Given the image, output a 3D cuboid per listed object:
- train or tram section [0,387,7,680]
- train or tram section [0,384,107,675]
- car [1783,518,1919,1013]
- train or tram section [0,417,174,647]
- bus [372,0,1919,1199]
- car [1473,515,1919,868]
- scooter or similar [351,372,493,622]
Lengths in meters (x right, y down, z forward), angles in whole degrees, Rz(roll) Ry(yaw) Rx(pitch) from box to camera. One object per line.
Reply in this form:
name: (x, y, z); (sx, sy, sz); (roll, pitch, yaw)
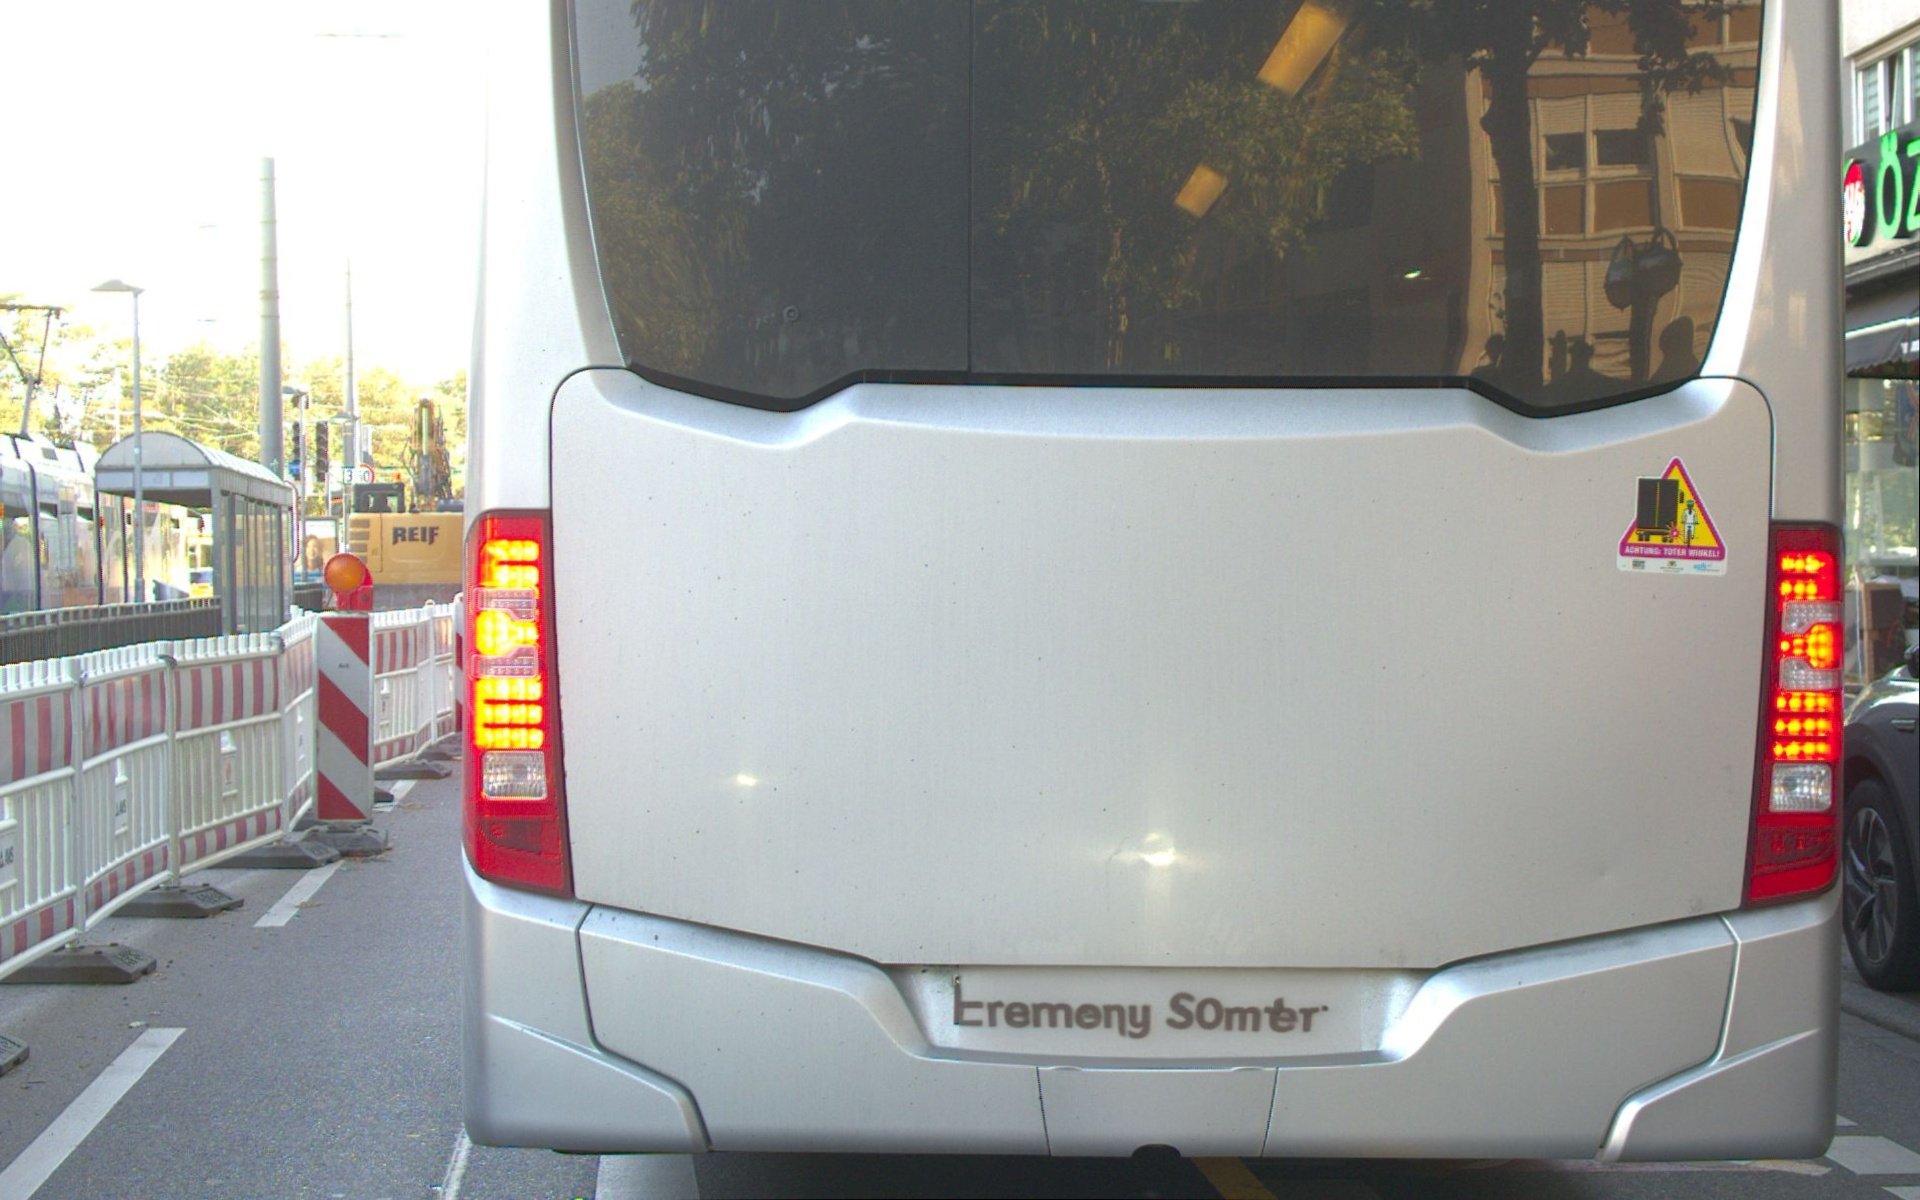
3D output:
train or tram section: (-12.321, -0.753, 35.752); (2.686, 3.521, 11.774); (1, 1, -6)
train or tram section: (-13.774, -0.939, 47.340); (2.686, 3.546, 11.585); (1, 1, -8)
car: (4.137, 0.515, 10.095); (1.993, 1.576, 4.369); (-3, 1, -5)
train or tram section: (-15.328, -1.116, 58.773); (2.686, 3.521, 11.585); (1, 1, -8)
bus: (0.282, -0.225, 9.845); (2.611, 3.115, 7.993); (1, 1, -1)
car: (4.283, 0.379, 18.398); (1.993, 1.576, 4.369); (-3, 1, -5)
scooter or similar: (-10.052, -1.882, 64.647); (2.468, 4.455, 5.974); (-1, 1, -8)
